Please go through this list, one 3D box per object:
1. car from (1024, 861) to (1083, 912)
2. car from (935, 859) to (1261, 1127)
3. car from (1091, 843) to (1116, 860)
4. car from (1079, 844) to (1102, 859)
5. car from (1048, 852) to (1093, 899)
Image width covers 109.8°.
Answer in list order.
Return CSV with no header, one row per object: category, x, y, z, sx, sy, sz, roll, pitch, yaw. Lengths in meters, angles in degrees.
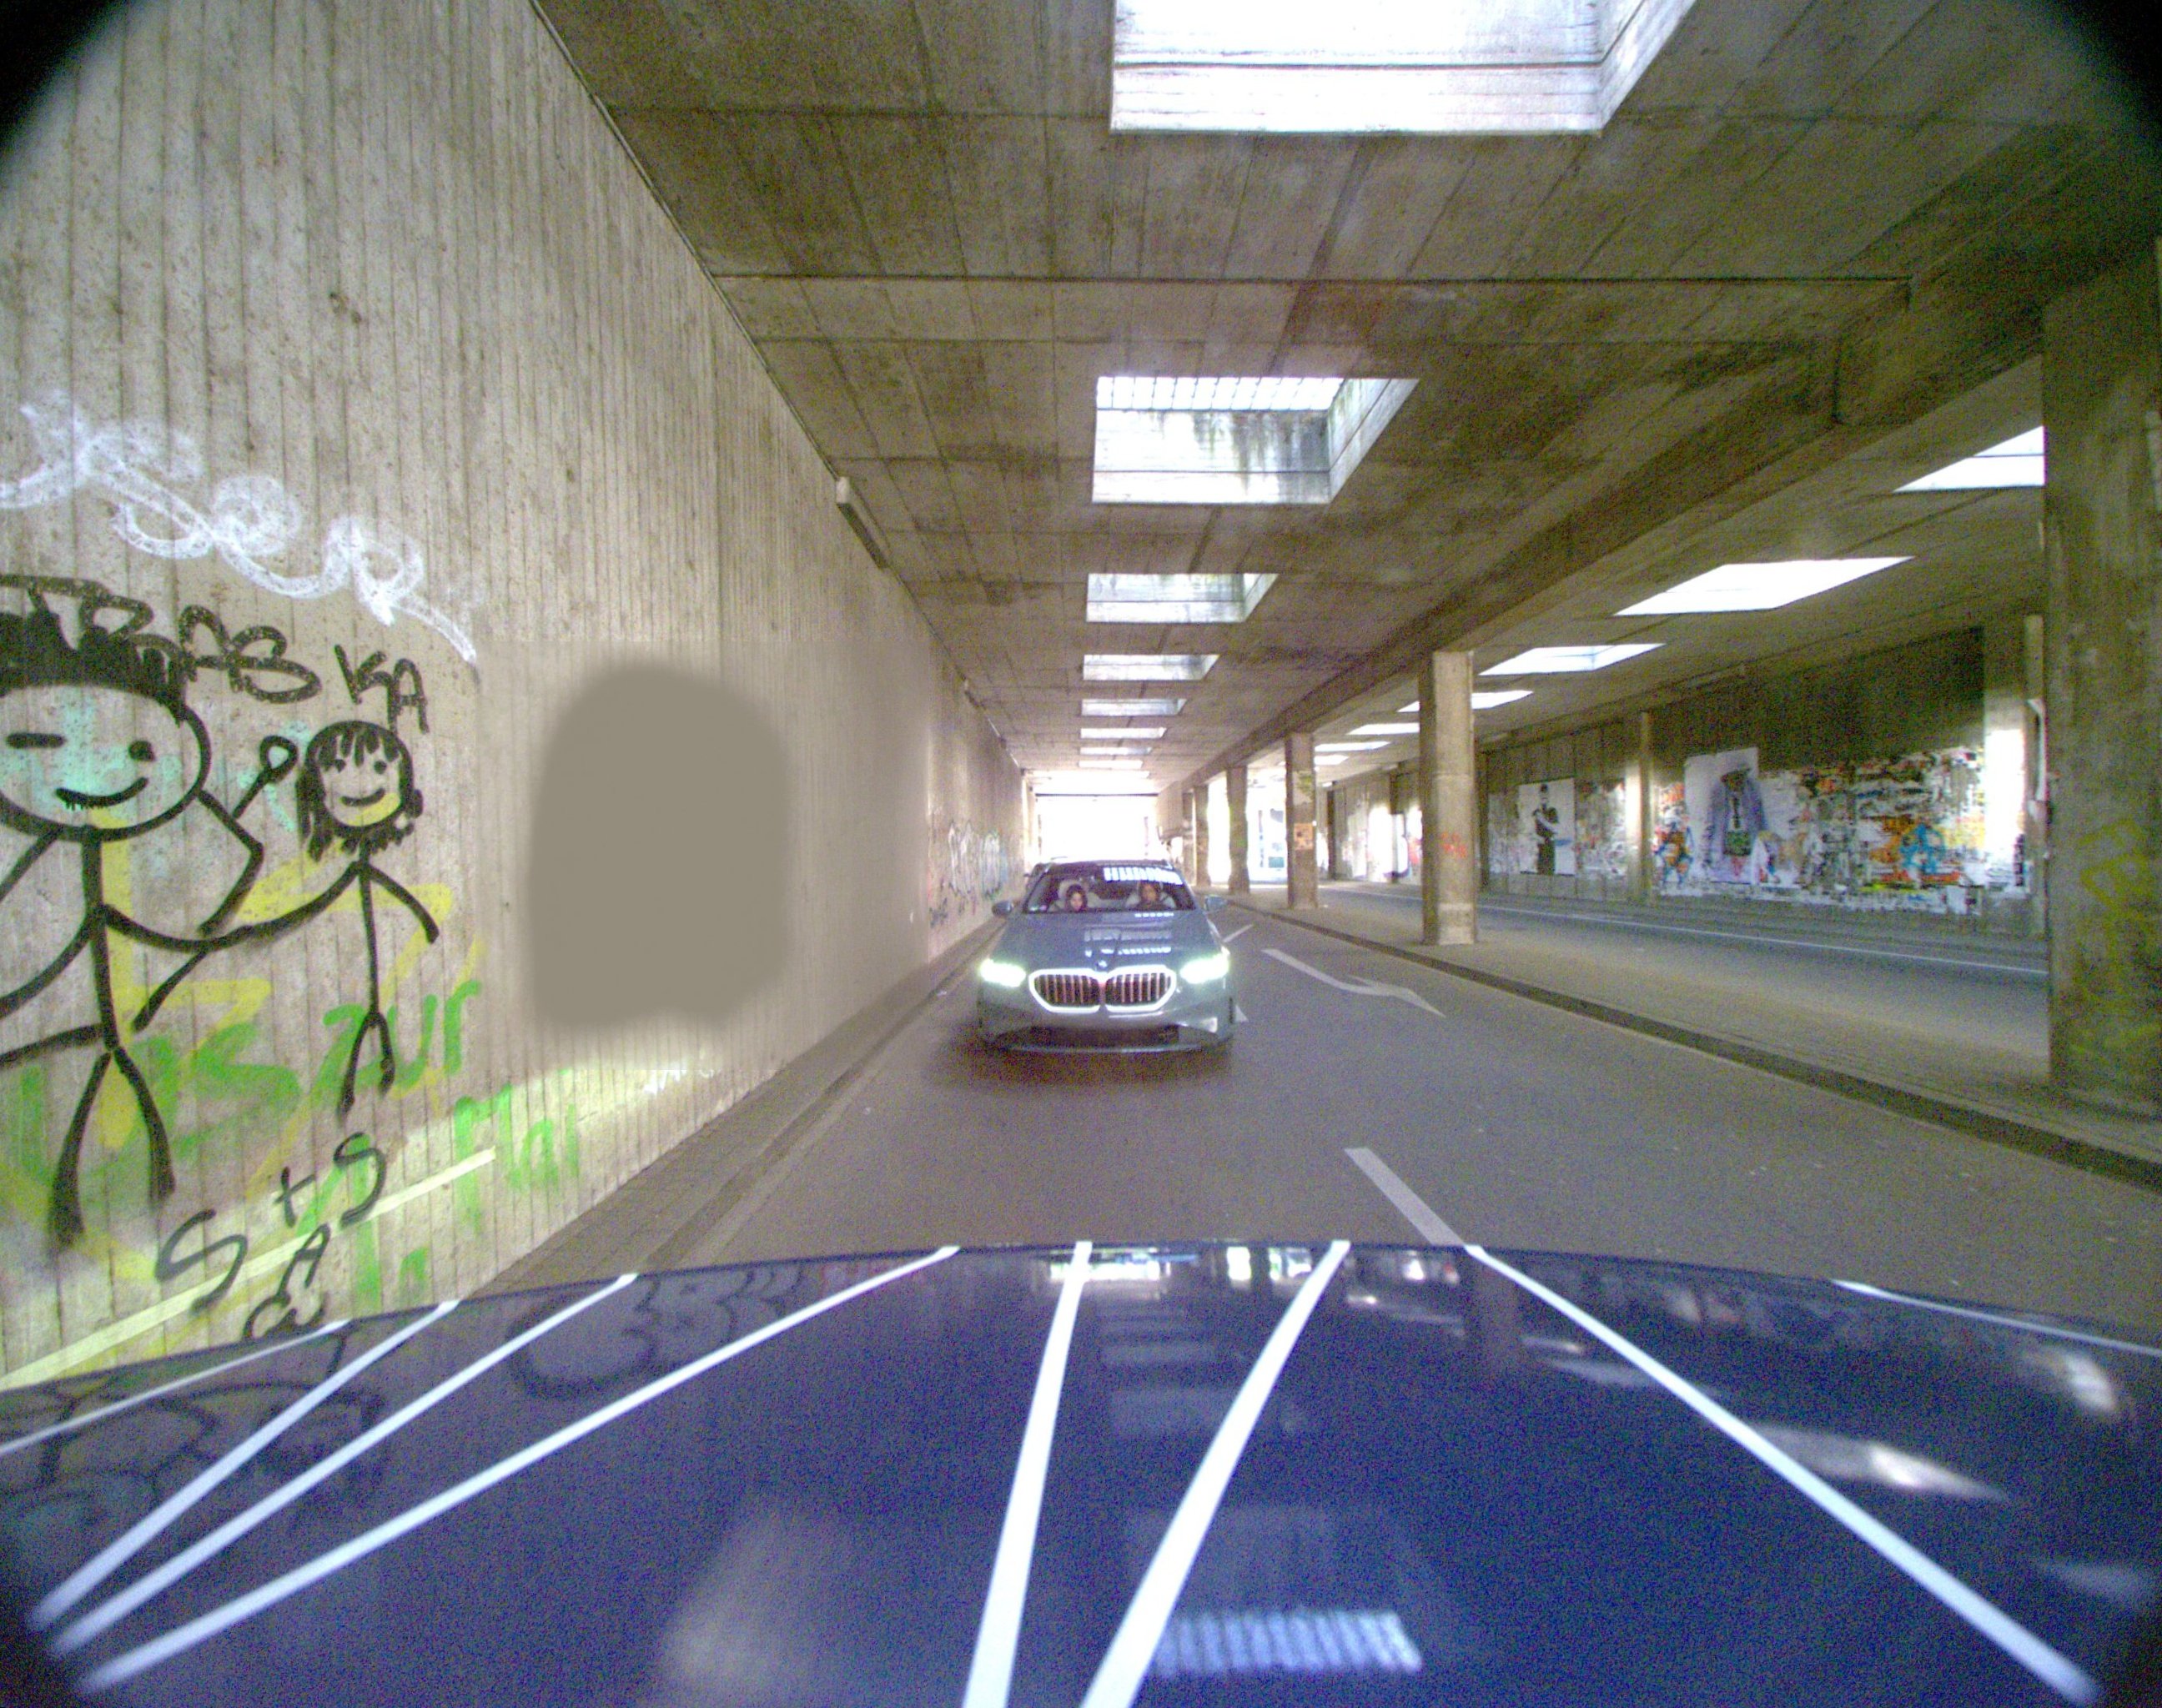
car,-0.790,0.956,23.883,1.593,1.387,3.833,-2,0,1
car,0.185,0.888,7.308,1.998,1.594,5.176,-1,0,2
car,2.866,-0.314,97.521,2.361,2.002,5.146,-1,0,-8
car,1.212,-0.321,103.533,2.361,2.002,5.146,-1,0,-8
car,-0.367,0.776,29.889,1.581,1.676,4.078,-2,0,1
